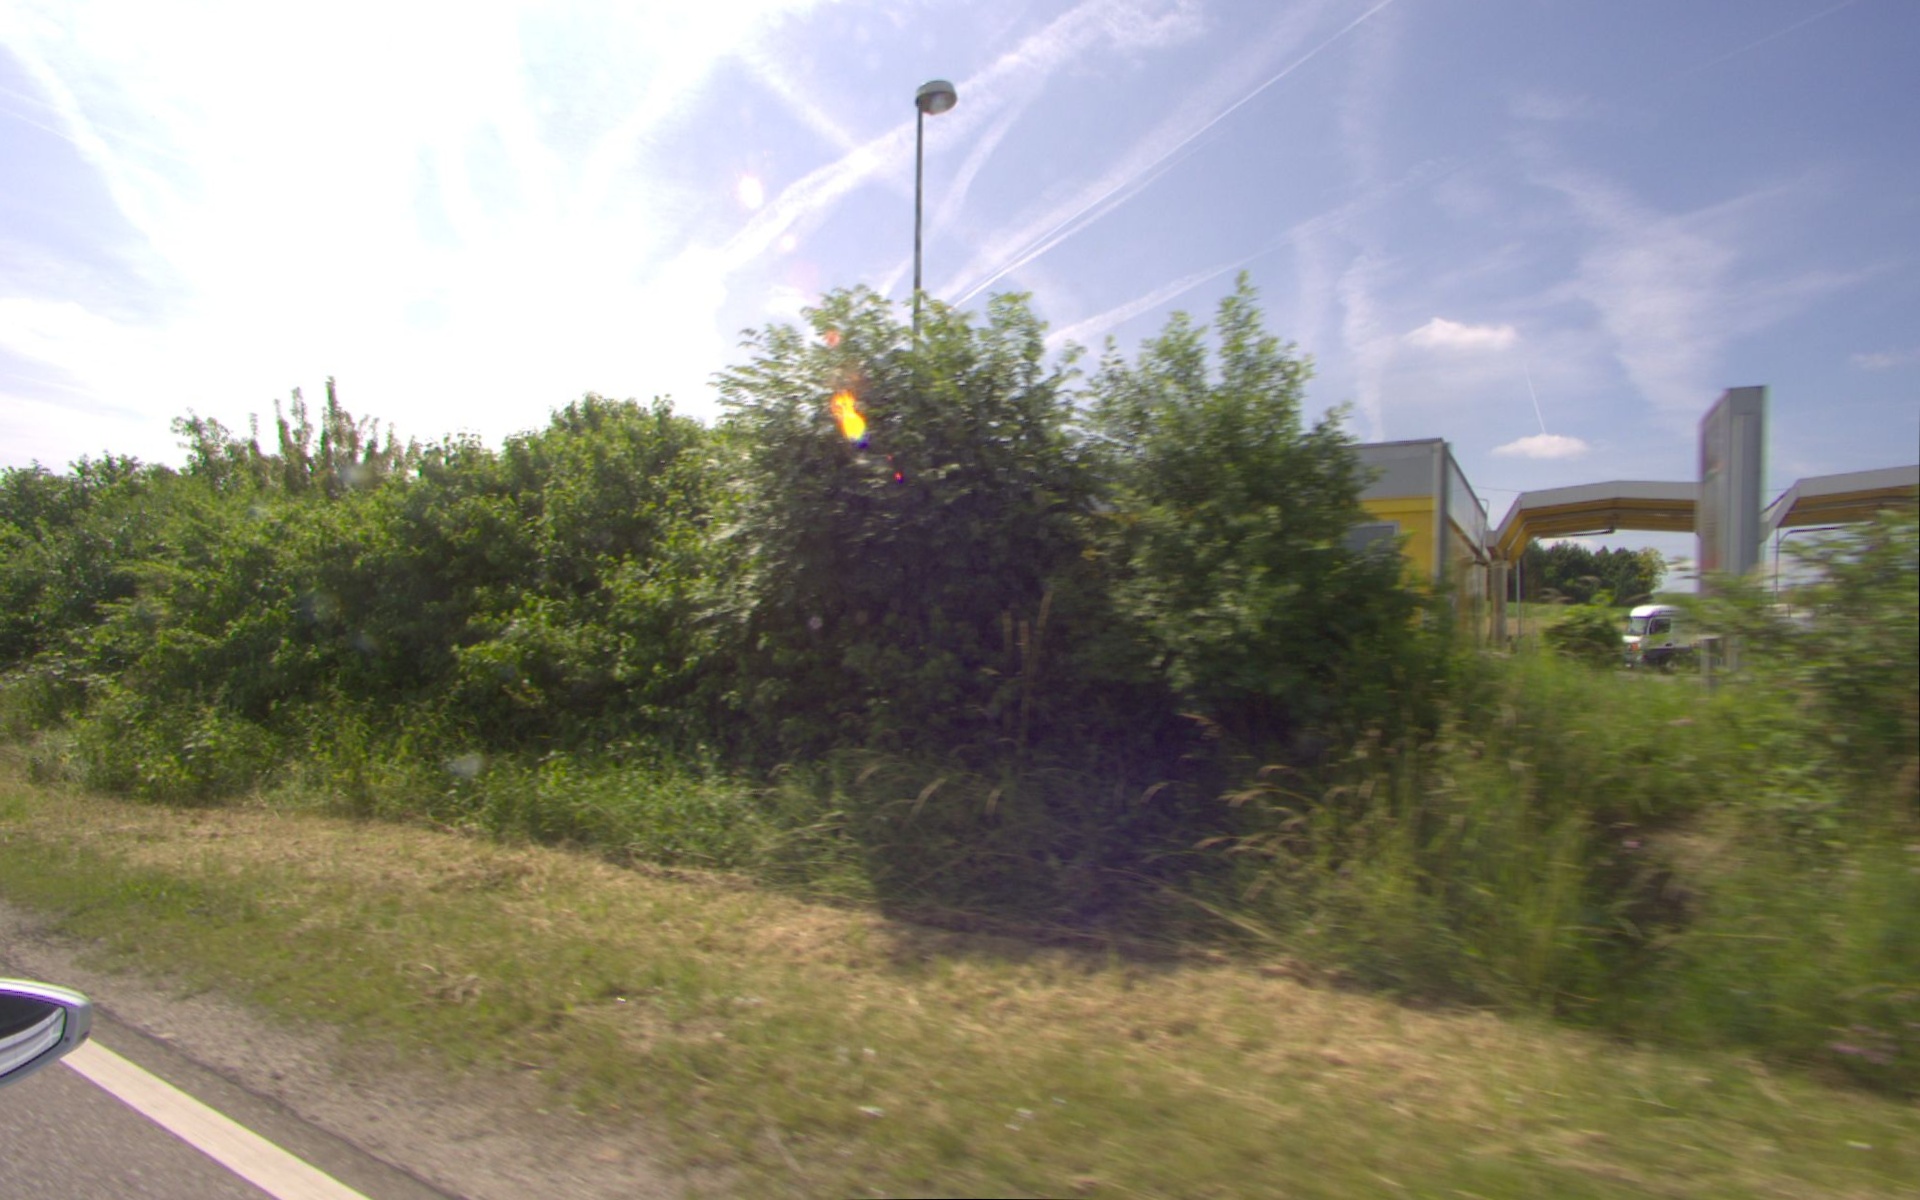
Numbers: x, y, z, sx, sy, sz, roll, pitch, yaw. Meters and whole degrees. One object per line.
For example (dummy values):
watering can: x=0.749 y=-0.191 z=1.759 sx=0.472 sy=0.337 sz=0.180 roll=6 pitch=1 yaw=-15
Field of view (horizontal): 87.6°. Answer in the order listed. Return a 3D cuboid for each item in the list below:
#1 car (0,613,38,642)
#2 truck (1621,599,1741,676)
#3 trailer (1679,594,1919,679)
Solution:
car: x=-53.119 y=1.510 z=54.651 sx=4.073 sy=1.567 sz=1.856 roll=2 pitch=-3 yaw=-44
truck: x=36.434 y=1.917 z=50.710 sx=4.528 sy=3.810 sz=2.001 roll=0 pitch=-1 yaw=2
trailer: x=41.337 y=1.777 z=48.504 sx=10.383 sy=3.850 sz=1.990 roll=-1 pitch=-2 yaw=32
